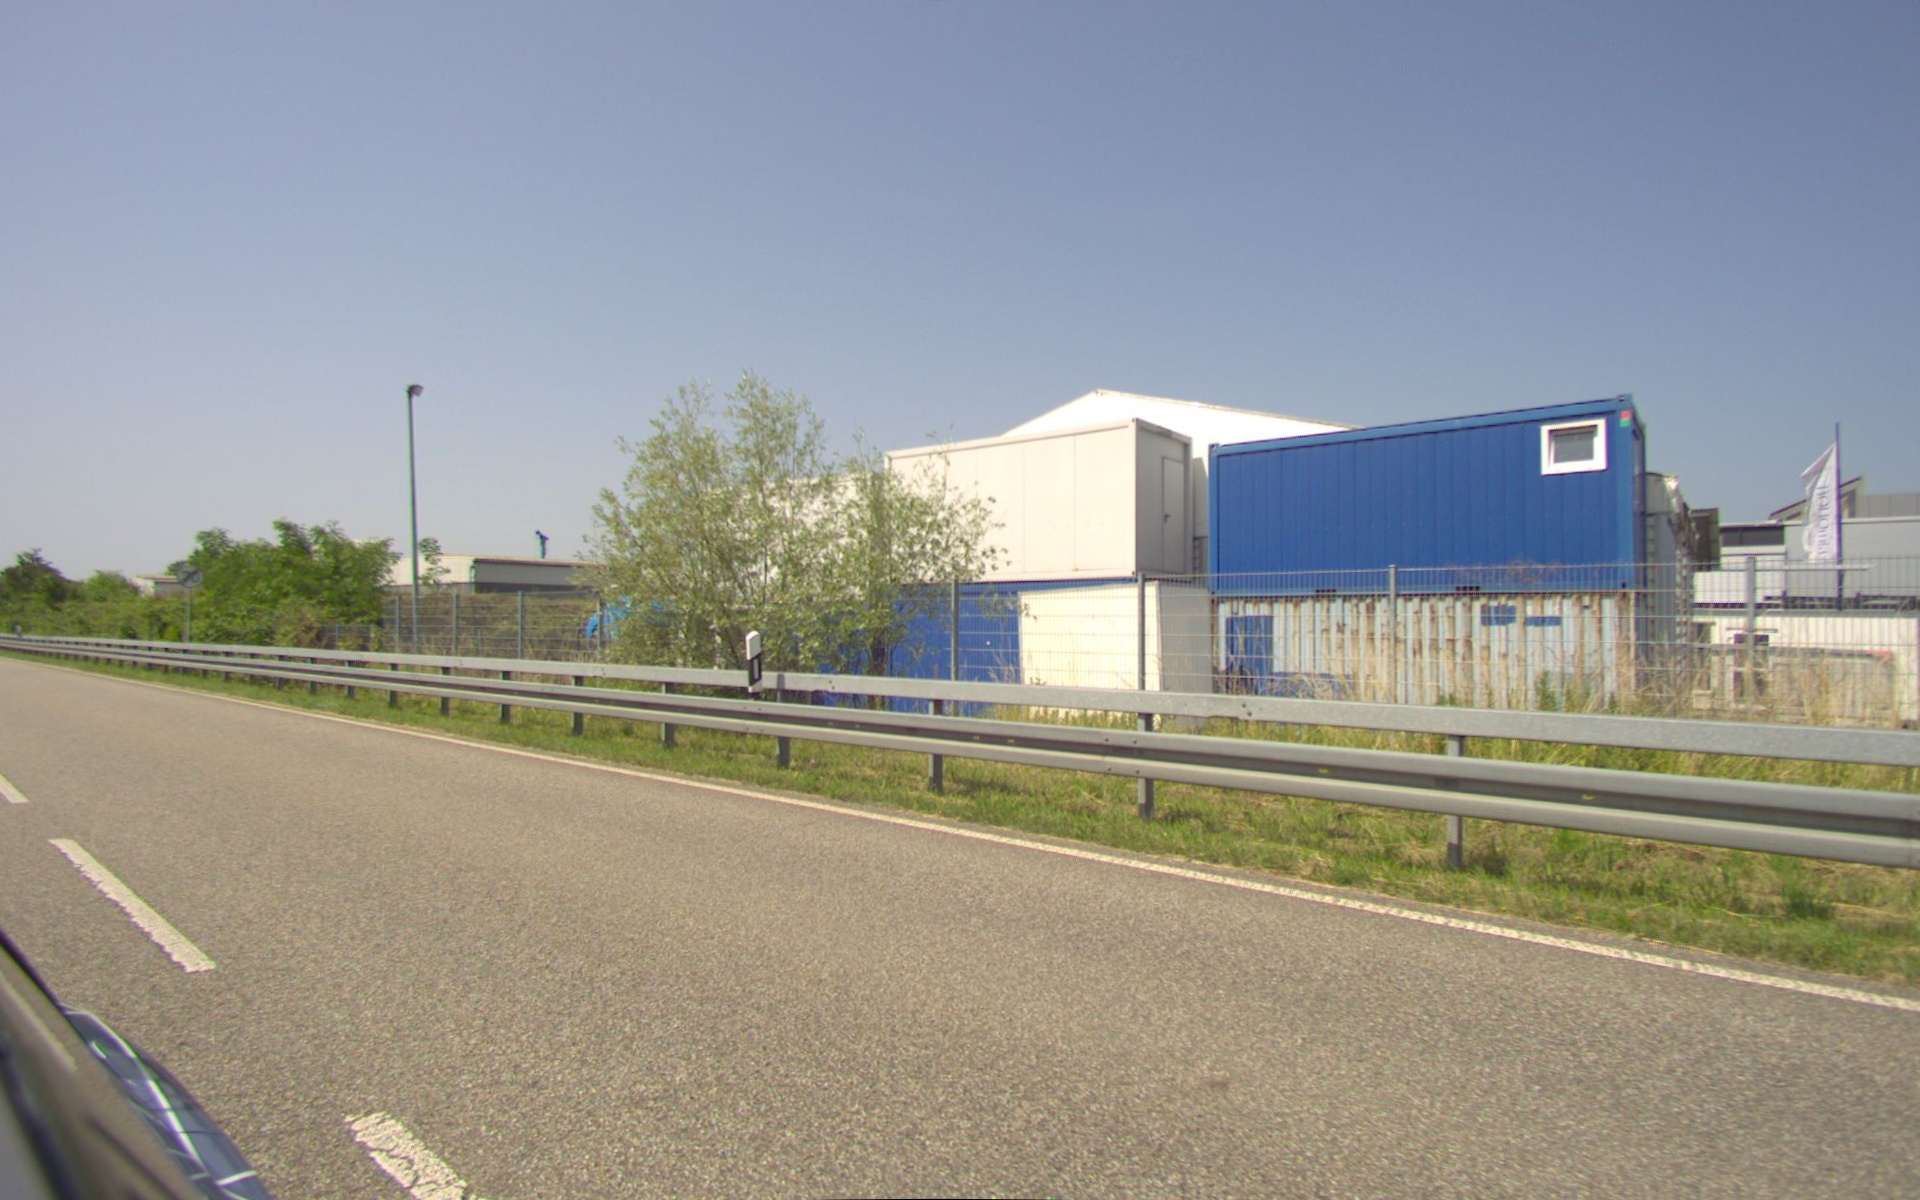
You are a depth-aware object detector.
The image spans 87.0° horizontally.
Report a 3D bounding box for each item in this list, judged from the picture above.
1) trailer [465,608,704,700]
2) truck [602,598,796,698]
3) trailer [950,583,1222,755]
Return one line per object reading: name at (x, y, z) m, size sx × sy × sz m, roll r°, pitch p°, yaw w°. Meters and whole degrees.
trailer at (-9.580, 1.277, 25.412) m, size 6.961 × 2.019 × 2.182 m, roll -2°, pitch -1°, yaw 37°
truck at (-5.862, 1.017, 22.615) m, size 3.992 × 2.019 × 2.182 m, roll -2°, pitch -1°, yaw 36°
trailer at (1.996, 1.025, 16.495) m, size 3.917 × 2.456 × 1.975 m, roll -2°, pitch -1°, yaw 38°
